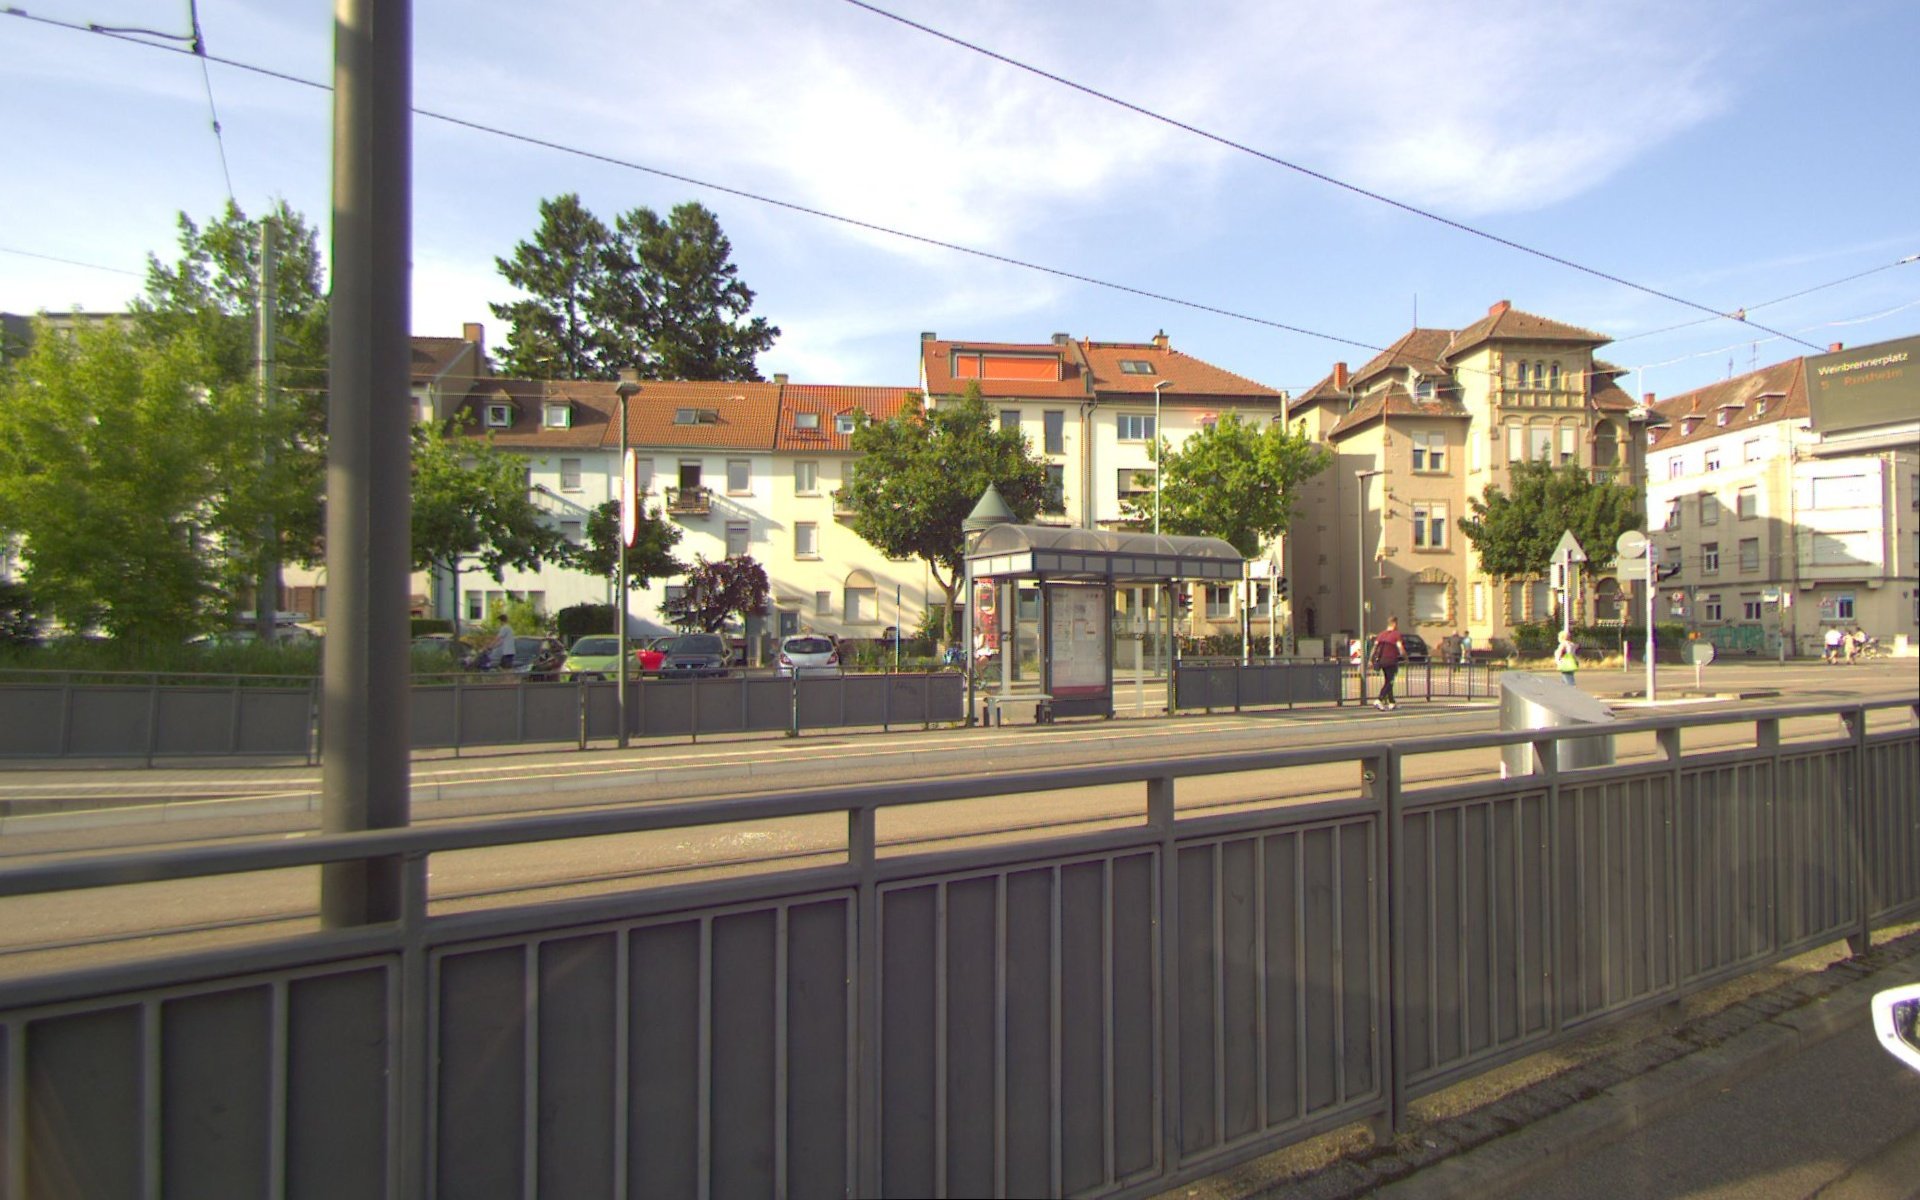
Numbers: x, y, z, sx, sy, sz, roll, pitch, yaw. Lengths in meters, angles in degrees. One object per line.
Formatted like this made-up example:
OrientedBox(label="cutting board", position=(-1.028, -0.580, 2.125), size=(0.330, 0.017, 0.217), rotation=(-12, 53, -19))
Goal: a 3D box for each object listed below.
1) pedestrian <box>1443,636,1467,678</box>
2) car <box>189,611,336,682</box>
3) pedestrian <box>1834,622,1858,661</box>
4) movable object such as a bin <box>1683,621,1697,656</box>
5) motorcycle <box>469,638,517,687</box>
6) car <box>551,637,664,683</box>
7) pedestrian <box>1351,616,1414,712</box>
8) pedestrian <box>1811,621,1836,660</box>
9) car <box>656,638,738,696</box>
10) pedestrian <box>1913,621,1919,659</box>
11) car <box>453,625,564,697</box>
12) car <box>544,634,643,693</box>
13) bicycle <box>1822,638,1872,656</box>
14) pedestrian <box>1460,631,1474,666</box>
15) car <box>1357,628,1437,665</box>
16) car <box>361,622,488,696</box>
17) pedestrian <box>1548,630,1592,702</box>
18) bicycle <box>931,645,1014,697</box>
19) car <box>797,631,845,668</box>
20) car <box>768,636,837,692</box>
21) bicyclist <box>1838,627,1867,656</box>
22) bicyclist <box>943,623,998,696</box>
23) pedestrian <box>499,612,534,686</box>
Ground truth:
OrientedBox(label="pedestrian", position=(20.058, 2.311, 40.732), size=(0.592, 1.673, 0.681), rotation=(0, -1, -3))
OrientedBox(label="car", position=(-18.961, 1.247, 27.534), size=(1.822, 1.777, 3.993), rotation=(0, -2, -11))
OrientedBox(label="pedestrian", position=(42.989, 1.996, 48.729), size=(0.642, 1.872, 0.670), rotation=(1, -2, -32))
OrientedBox(label="movable object such as a bin", position=(36.752, 1.925, 50.585), size=(0.259, 1.732, 2.379), rotation=(-1, -2, 29))
OrientedBox(label="motorcycle", position=(-10.619, 1.409, 22.832), size=(0.912, 1.065, 0.496), rotation=(1, -2, -37))
OrientedBox(label="car", position=(-12.182, 2.058, 34.870), size=(3.444, 1.544, 1.567), rotation=(0, -2, -7))
OrientedBox(label="pedestrian", position=(7.640, 1.145, 18.169), size=(0.874, 1.692, 0.666), rotation=(1, -2, -33))
OrientedBox(label="pedestrian", position=(42.535, 1.976, 49.473), size=(0.616, 1.905, 0.659), rotation=(0, -2, -15))
OrientedBox(label="car", position=(-7.066, 1.756, 27.350), size=(1.740, 1.447, 3.995), rotation=(0, -2, -9))
OrientedBox(label="pedestrian", position=(47.677, 1.974, 49.646), size=(0.618, 1.905, 0.583), rotation=(0, -2, -25))
OrientedBox(label="car", position=(-11.971, 1.579, 26.915), size=(1.822, 1.777, 3.993), rotation=(0, -2, -11))
OrientedBox(label="car", position=(-9.728, 1.638, 26.944), size=(1.740, 1.447, 3.995), rotation=(0, -2, -9))
OrientedBox(label="bicycle", position=(49.686, 2.621, 56.298), size=(0.735, 1.019, 1.978), rotation=(1, -2, -34))
OrientedBox(label="pedestrian", position=(22.465, 2.133, 44.476), size=(0.382, 1.535, 0.405), rotation=(0, -2, -3))
OrientedBox(label="car", position=(20.398, 2.140, 47.091), size=(1.742, 1.653, 3.998), rotation=(0, -2, -5))
OrientedBox(label="car", position=(-13.884, 1.497, 26.297), size=(1.822, 1.777, 3.993), rotation=(0, -2, -11))
OrientedBox(label="pedestrian", position=(14.022, 1.498, 23.089), size=(0.708, 1.610, 0.586), rotation=(1, -2, -34))
OrientedBox(label="bicycle", position=(0.298, 1.662, 23.743), size=(1.842, 1.125, 0.722), rotation=(1, 1, -30))
OrientedBox(label="car", position=(-6.092, 2.160, 44.430), size=(1.821, 1.578, 3.998), rotation=(0, -2, -4))
OrientedBox(label="car", position=(-4.370, 1.722, 27.979), size=(1.740, 1.447, 3.995), rotation=(0, -2, -9))
OrientedBox(label="bicyclist", position=(49.835, 2.320, 56.084), size=(0.655, 1.590, 1.033), rotation=(1, -2, -34))
OrientedBox(label="bicyclist", position=(0.246, 1.379, 23.672), size=(1.059, 1.646, 0.701), rotation=(0, 1, -30))
OrientedBox(label="pedestrian", position=(-10.235, 1.120, 23.177), size=(0.665, 1.677, 0.367), rotation=(1, -2, -38))
